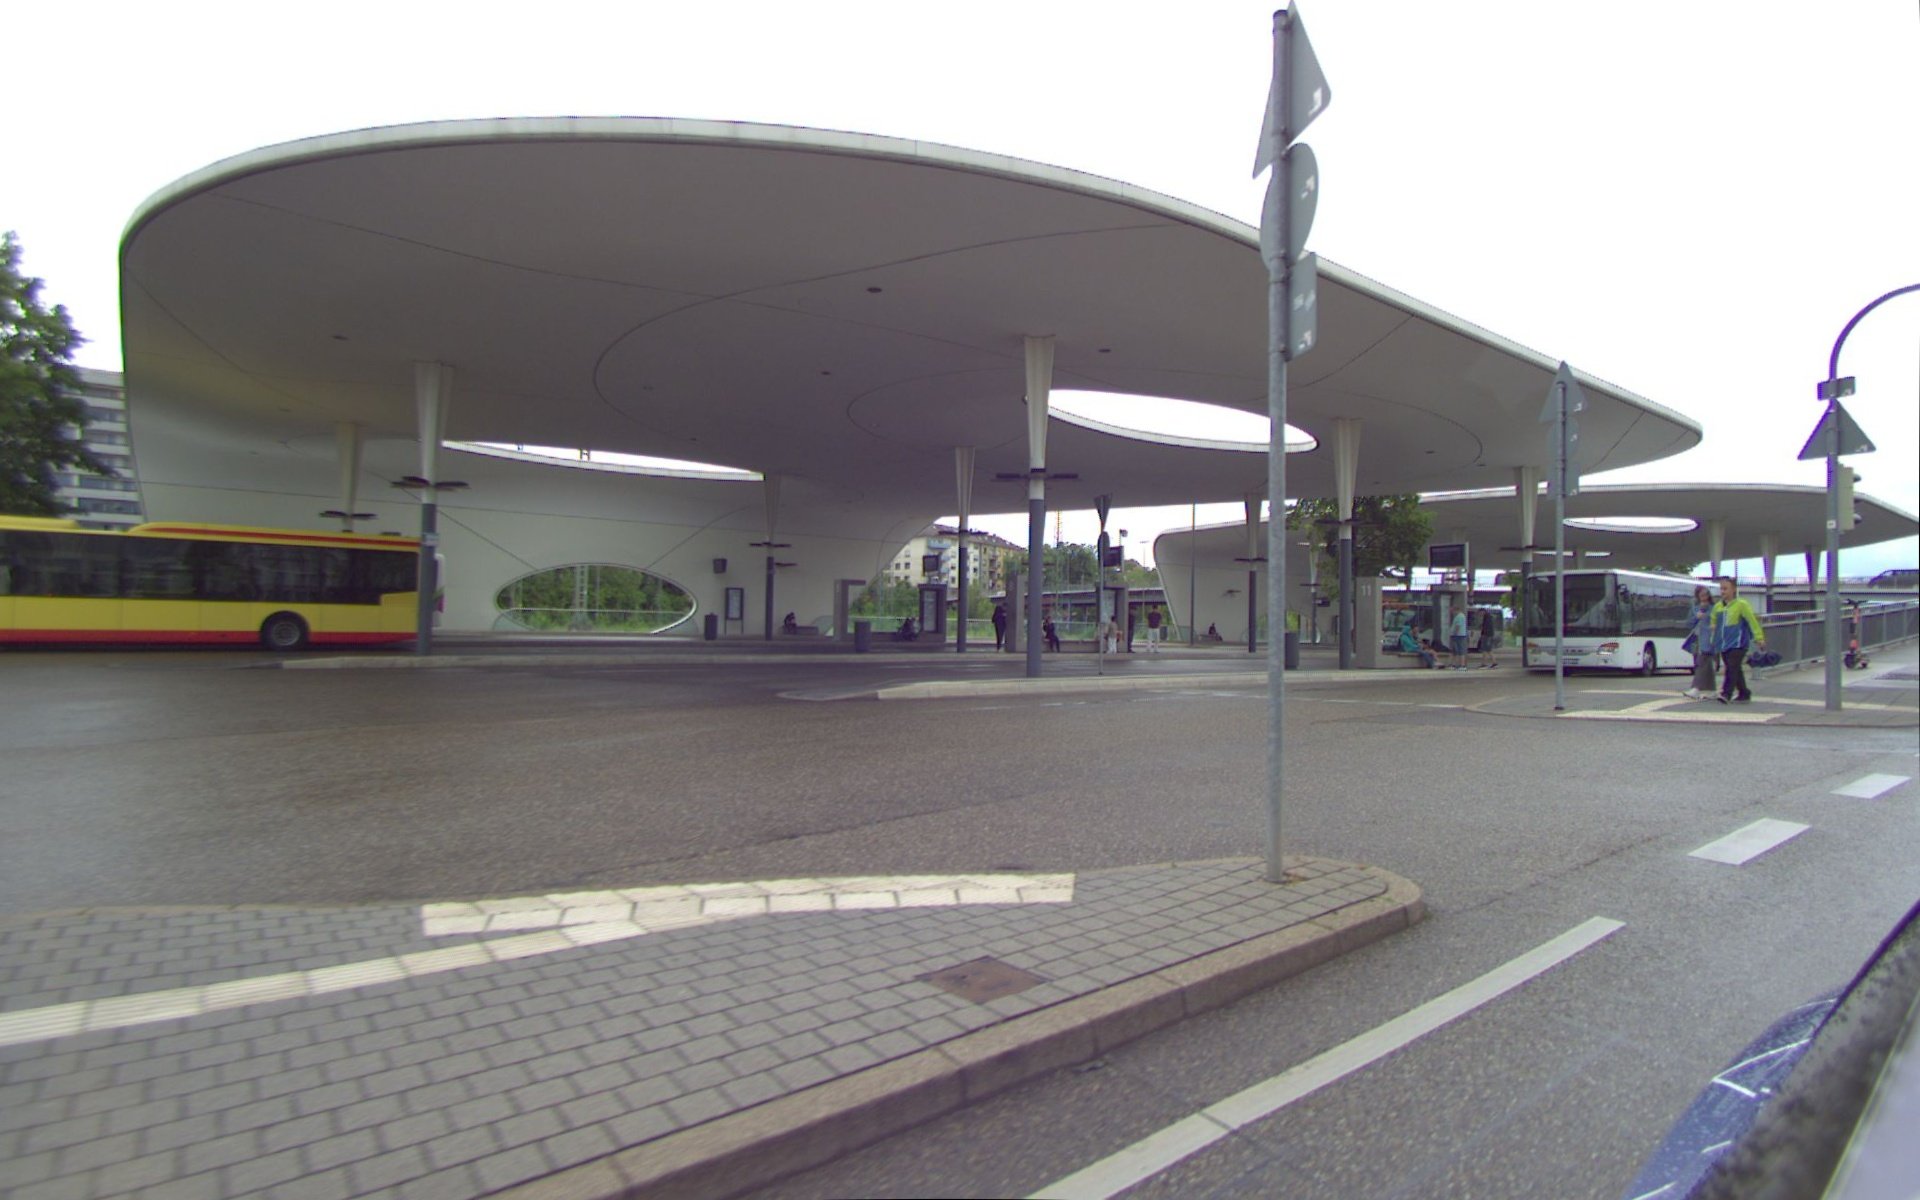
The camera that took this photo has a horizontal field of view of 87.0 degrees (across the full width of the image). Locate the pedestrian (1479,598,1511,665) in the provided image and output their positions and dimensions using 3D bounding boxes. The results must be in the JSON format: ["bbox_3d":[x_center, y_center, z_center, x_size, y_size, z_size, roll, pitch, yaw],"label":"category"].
[{"bbox_3d":[15.929,0.936,30.145,0.640,1.928,0.583,4,0,17],"label":"pedestrian"}]

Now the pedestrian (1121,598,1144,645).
[{"bbox_3d":[6.295,0.776,36.846,0.546,1.675,0.571,2,0,-32],"label":"pedestrian"}]

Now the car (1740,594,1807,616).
[{"bbox_3d":[78.645,0.484,97.897,2.077,1.993,4.677,0,-2,-40],"label":"car"}]

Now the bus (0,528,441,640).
[{"bbox_3d":[-24.381,-0.459,34.404,11.750,3.298,2.473,1,1,-38],"label":"bus"}]

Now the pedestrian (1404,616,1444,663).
[{"bbox_3d":[13.514,1.146,29.475,0.945,1.271,0.642,4,0,29],"label":"pedestrian"}]

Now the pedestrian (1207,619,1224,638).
[{"bbox_3d":[18.191,2.036,72.046,0.698,1.342,0.801,-2,-2,-33],"label":"pedestrian"}]

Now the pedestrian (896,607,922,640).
[{"bbox_3d":[-2.124,0.973,42.135,0.785,1.342,0.712,-3,-2,-30],"label":"pedestrian"}]

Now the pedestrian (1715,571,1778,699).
[{"bbox_3d":[10.681,0.460,13.743,0.570,1.691,0.523,-2,0,-38],"label":"pedestrian"}]

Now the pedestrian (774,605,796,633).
[{"bbox_3d":[-8.813,0.965,50.919,0.786,1.342,0.711,-2,-2,-34],"label":"pedestrian"}]

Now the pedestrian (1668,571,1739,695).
[{"bbox_3d":[10.539,0.459,14.345,0.570,1.691,0.590,-3,0,-38],"label":"pedestrian"}]

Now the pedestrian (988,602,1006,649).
[{"bbox_3d":[1.220,0.824,33.068,0.513,1.521,0.380,1,-1,13],"label":"pedestrian"}]

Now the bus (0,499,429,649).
[{"bbox_3d":[-20.089,-0.551,25.096,11.923,3.299,2.794,1,-1,-40],"label":"bus"}]

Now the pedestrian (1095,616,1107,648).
[{"bbox_3d":[4.891,1.114,35.208,0.345,1.094,0.392,2,0,4],"label":"pedestrian"}]

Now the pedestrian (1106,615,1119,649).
[{"bbox_3d":[5.292,1.094,35.149,0.357,1.159,0.395,2,0,4],"label":"pedestrian"}]

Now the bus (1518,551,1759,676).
[{"bbox_3d":[22.179,0.441,32.602,12.198,3.405,2.852,1,0,-38],"label":"bus"}]

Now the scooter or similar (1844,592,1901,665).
[{"bbox_3d":[16.331,0.500,18.093,1.825,1.236,0.465,1,-1,-39],"label":"scooter or similar"}]

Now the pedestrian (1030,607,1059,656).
[{"bbox_3d":[2.851,1.052,34.054,0.666,1.610,0.589,-2,-2,-42],"label":"pedestrian"}]

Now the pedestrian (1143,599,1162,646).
[{"bbox_3d":[7.135,0.822,37.472,0.633,1.675,0.637,2,0,13],"label":"pedestrian"}]

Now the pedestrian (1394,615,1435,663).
[{"bbox_3d":[13.010,1.116,28.967,0.945,1.271,0.642,4,0,29],"label":"pedestrian"}]

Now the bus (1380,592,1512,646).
[{"bbox_3d":[31.860,1.238,66.040,11.918,3.299,2.795,1,0,-38],"label":"bus"}]

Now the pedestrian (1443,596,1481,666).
[{"bbox_3d":[14.138,0.872,28.479,0.635,1.910,0.587,4,0,-28],"label":"pedestrian"}]
